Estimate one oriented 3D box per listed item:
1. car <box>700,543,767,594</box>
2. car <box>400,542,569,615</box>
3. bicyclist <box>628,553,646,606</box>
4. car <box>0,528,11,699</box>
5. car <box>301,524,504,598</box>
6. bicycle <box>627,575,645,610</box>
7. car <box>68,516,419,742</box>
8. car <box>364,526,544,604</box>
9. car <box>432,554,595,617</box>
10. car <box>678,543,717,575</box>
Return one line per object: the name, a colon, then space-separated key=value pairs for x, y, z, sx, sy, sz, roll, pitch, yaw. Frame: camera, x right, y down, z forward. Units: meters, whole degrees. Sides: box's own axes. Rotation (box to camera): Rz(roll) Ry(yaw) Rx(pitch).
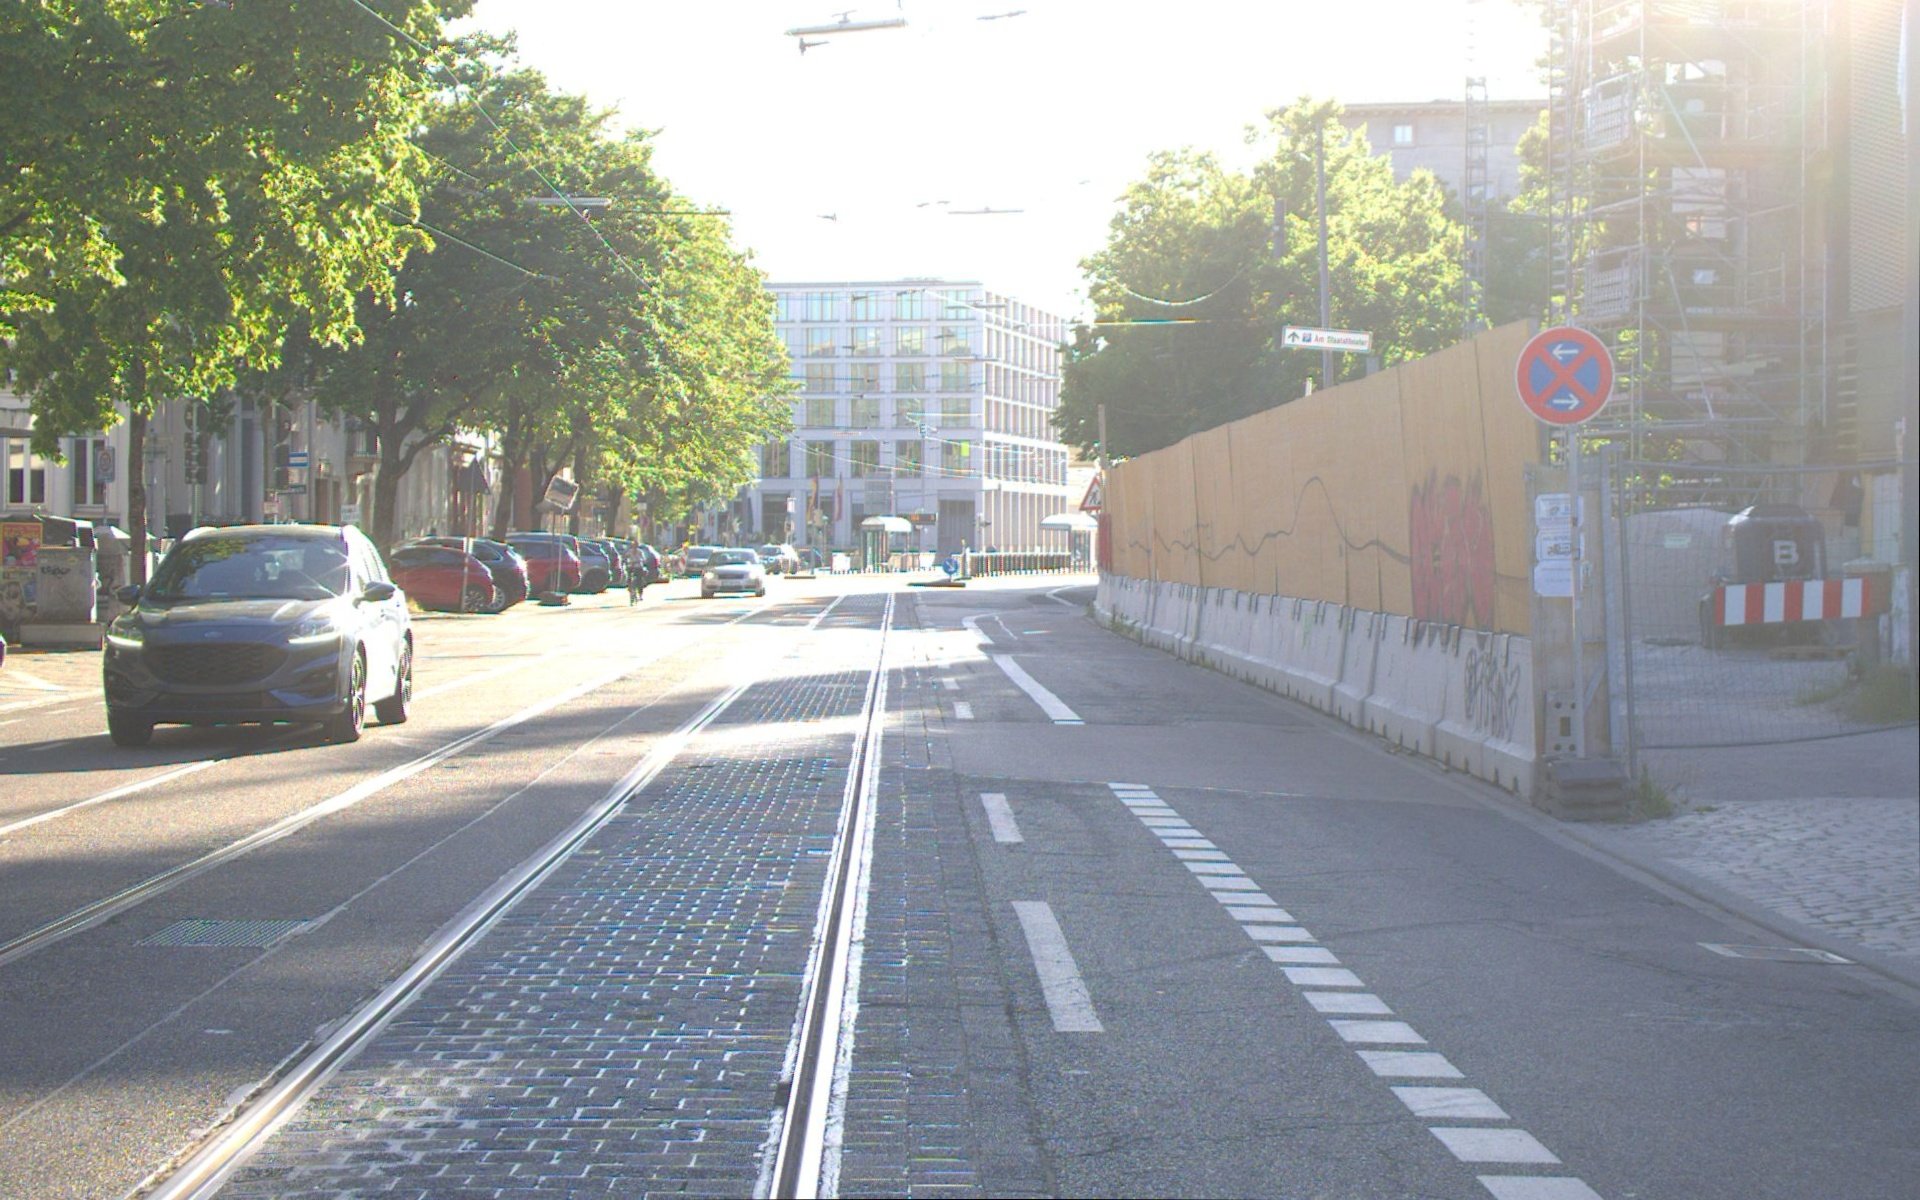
car: x=-6.586 y=-0.927 z=100.097 sx=1.709 sy=1.431 sz=4.171 roll=0 pitch=1 yaw=0
car: x=-11.343 y=-0.537 z=82.076 sx=3.674 sy=1.715 sz=1.611 roll=-1 pitch=1 yaw=-36
bicyclist: x=-8.411 y=-0.544 z=89.510 sx=0.457 sy=1.373 sz=0.641 roll=0 pitch=1 yaw=-6
car: x=-11.628 y=0.034 z=33.494 sx=4.281 sy=1.661 sz=1.912 roll=2 pitch=0 yaw=-25
car: x=-11.862 y=-0.829 z=73.204 sx=3.901 sy=1.448 sz=1.638 roll=1 pitch=0 yaw=-34
bicycle: x=-8.445 y=-0.204 z=89.507 sx=0.449 sy=0.878 sz=1.901 roll=0 pitch=1 yaw=-6
car: x=-5.498 y=0.173 z=26.914 sx=1.927 sy=1.624 sz=4.249 roll=0 pitch=1 yaw=-1
car: x=-11.311 y=-0.790 z=76.932 sx=3.674 sy=1.715 sz=1.611 roll=-1 pitch=1 yaw=-36
car: x=-12.346 y=-0.398 z=95.159 sx=4.159 sy=1.715 sz=1.584 roll=0 pitch=1 yaw=-28
car: x=-12.317 y=-1.946 z=161.354 sx=1.573 sy=1.485 sz=4.000 roll=0 pitch=1 yaw=-1
